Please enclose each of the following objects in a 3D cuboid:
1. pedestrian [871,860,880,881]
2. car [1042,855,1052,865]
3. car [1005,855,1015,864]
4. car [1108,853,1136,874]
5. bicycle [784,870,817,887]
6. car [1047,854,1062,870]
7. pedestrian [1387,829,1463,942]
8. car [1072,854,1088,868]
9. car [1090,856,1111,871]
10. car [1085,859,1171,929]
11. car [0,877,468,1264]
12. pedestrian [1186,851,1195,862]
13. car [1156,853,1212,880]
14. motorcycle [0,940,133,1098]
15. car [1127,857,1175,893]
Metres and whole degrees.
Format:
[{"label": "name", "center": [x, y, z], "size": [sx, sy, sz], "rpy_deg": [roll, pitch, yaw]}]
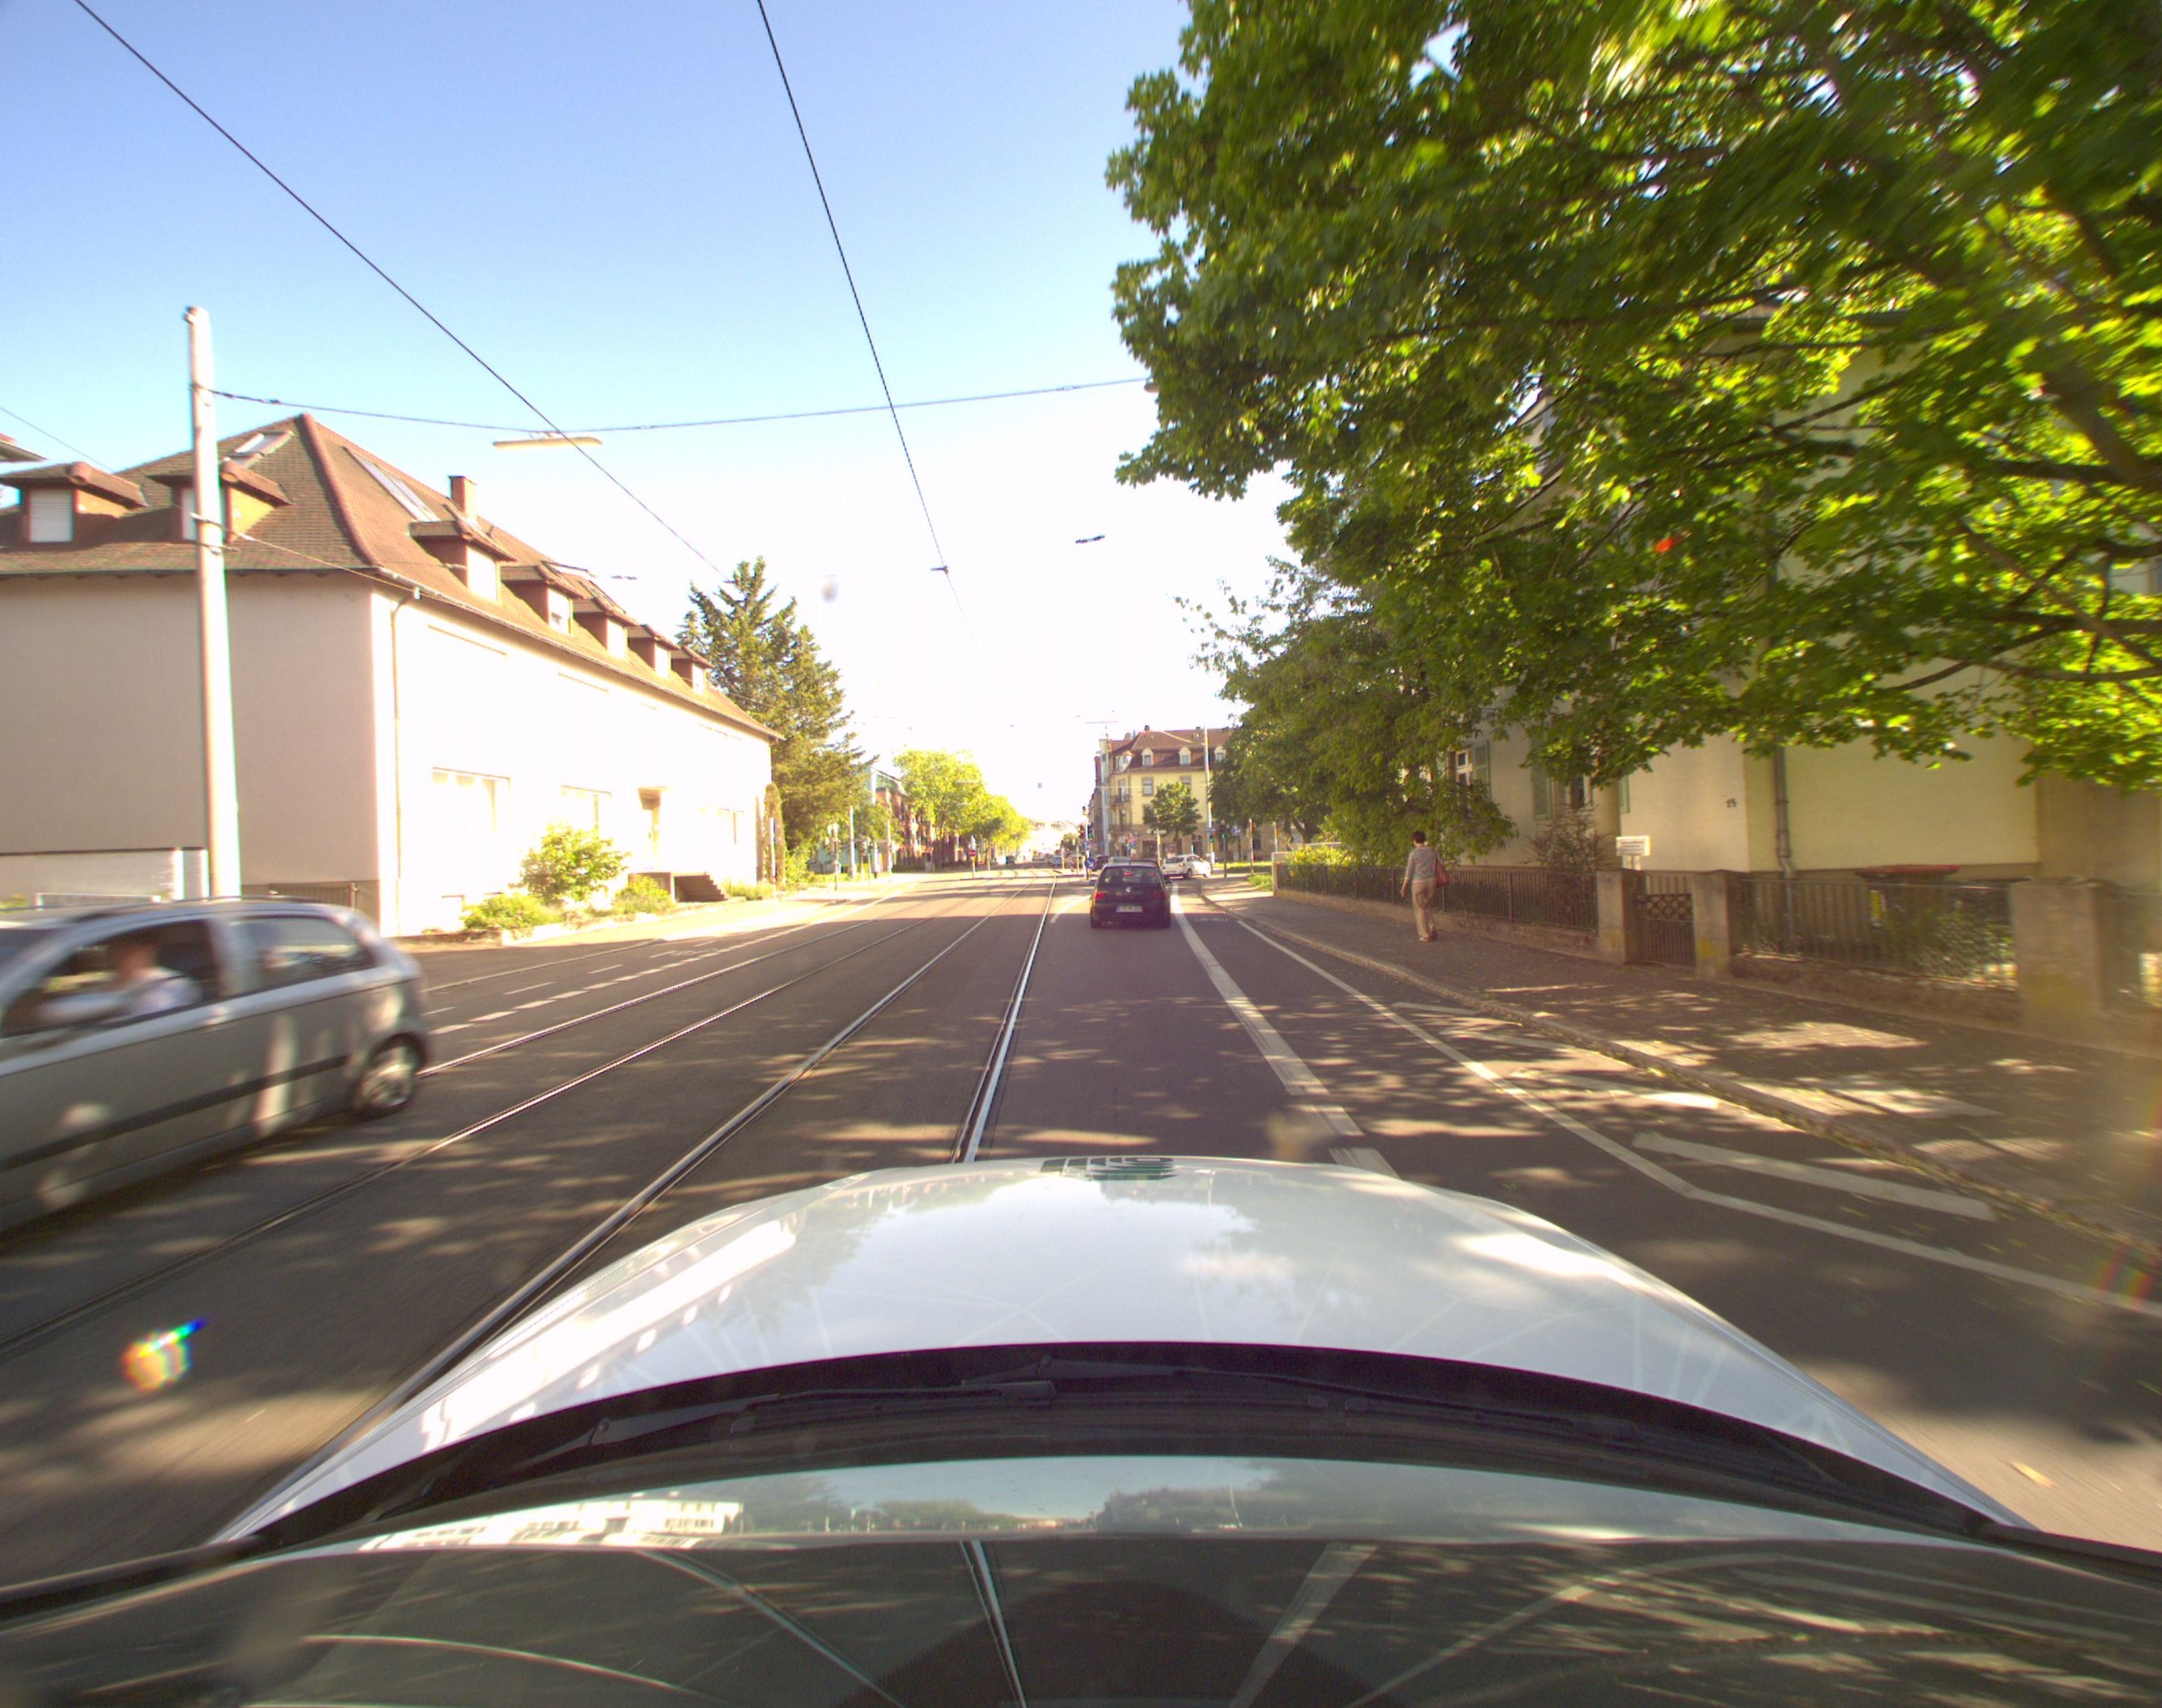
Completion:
[{"label": "pedestrian", "center": [-17.236, 1.386, 68.305], "size": [0.611, 1.689, 0.728], "rpy_deg": [1, 0, -20]}, {"label": "car", "center": [-6.182, 1.095, 148.069], "size": [1.783, 1.860, 3.996], "rpy_deg": [-2, 0, -3]}, {"label": "car", "center": [-15.332, 1.153, 175.271], "size": [1.969, 1.815, 4.288], "rpy_deg": [-2, 0, -6]}, {"label": "car", "center": [2.956, 0.649, 59.060], "size": [1.567, 1.311, 3.643], "rpy_deg": [-2, 2, -4]}, {"label": "bicycle", "center": [-17.842, 1.558, 51.802], "size": [1.935, 1.015, 0.538], "rpy_deg": [-2, 0, 6]}, {"label": "car", "center": [-3.274, 0.941, 99.782], "size": [1.783, 1.860, 3.996], "rpy_deg": [-2, 0, -3]}, {"label": "pedestrian", "center": [5.394, 0.481, 12.826], "size": [0.716, 1.688, 0.869], "rpy_deg": [-3, 0, -3]}, {"label": "car", "center": [-0.149, 0.817, 94.362], "size": [1.677, 1.453, 3.375], "rpy_deg": [-2, 0, -3]}, {"label": "car", "center": [1.771, 0.866, 75.437], "size": [1.567, 1.311, 3.495], "rpy_deg": [-2, 0, -4]}, {"label": "car", "center": [1.151, 0.832, 18.448], "size": [1.707, 1.402, 4.012], "rpy_deg": [0, 0, 6]}, {"label": "car", "center": [-5.140, 0.944, 4.025], "size": [1.571, 1.477, 3.439], "rpy_deg": [-4, 0, -1]}, {"label": "pedestrian", "center": [13.203, 0.309, 98.044], "size": [0.977, 1.187, 0.743], "rpy_deg": [-2, 0, -2]}, {"label": "car", "center": [6.100, 0.715, 47.950], "size": [1.723, 1.441, 3.834], "rpy_deg": [-2, 0, 33]}, {"label": "motorcycle", "center": [-8.835, 1.363, 6.254], "size": [0.535, 1.162, 2.171], "rpy_deg": [-4, 0, -1]}, {"label": "car", "center": [2.908, 0.851, 34.545], "size": [1.629, 1.372, 3.756], "rpy_deg": [-2, 0, -1]}]
